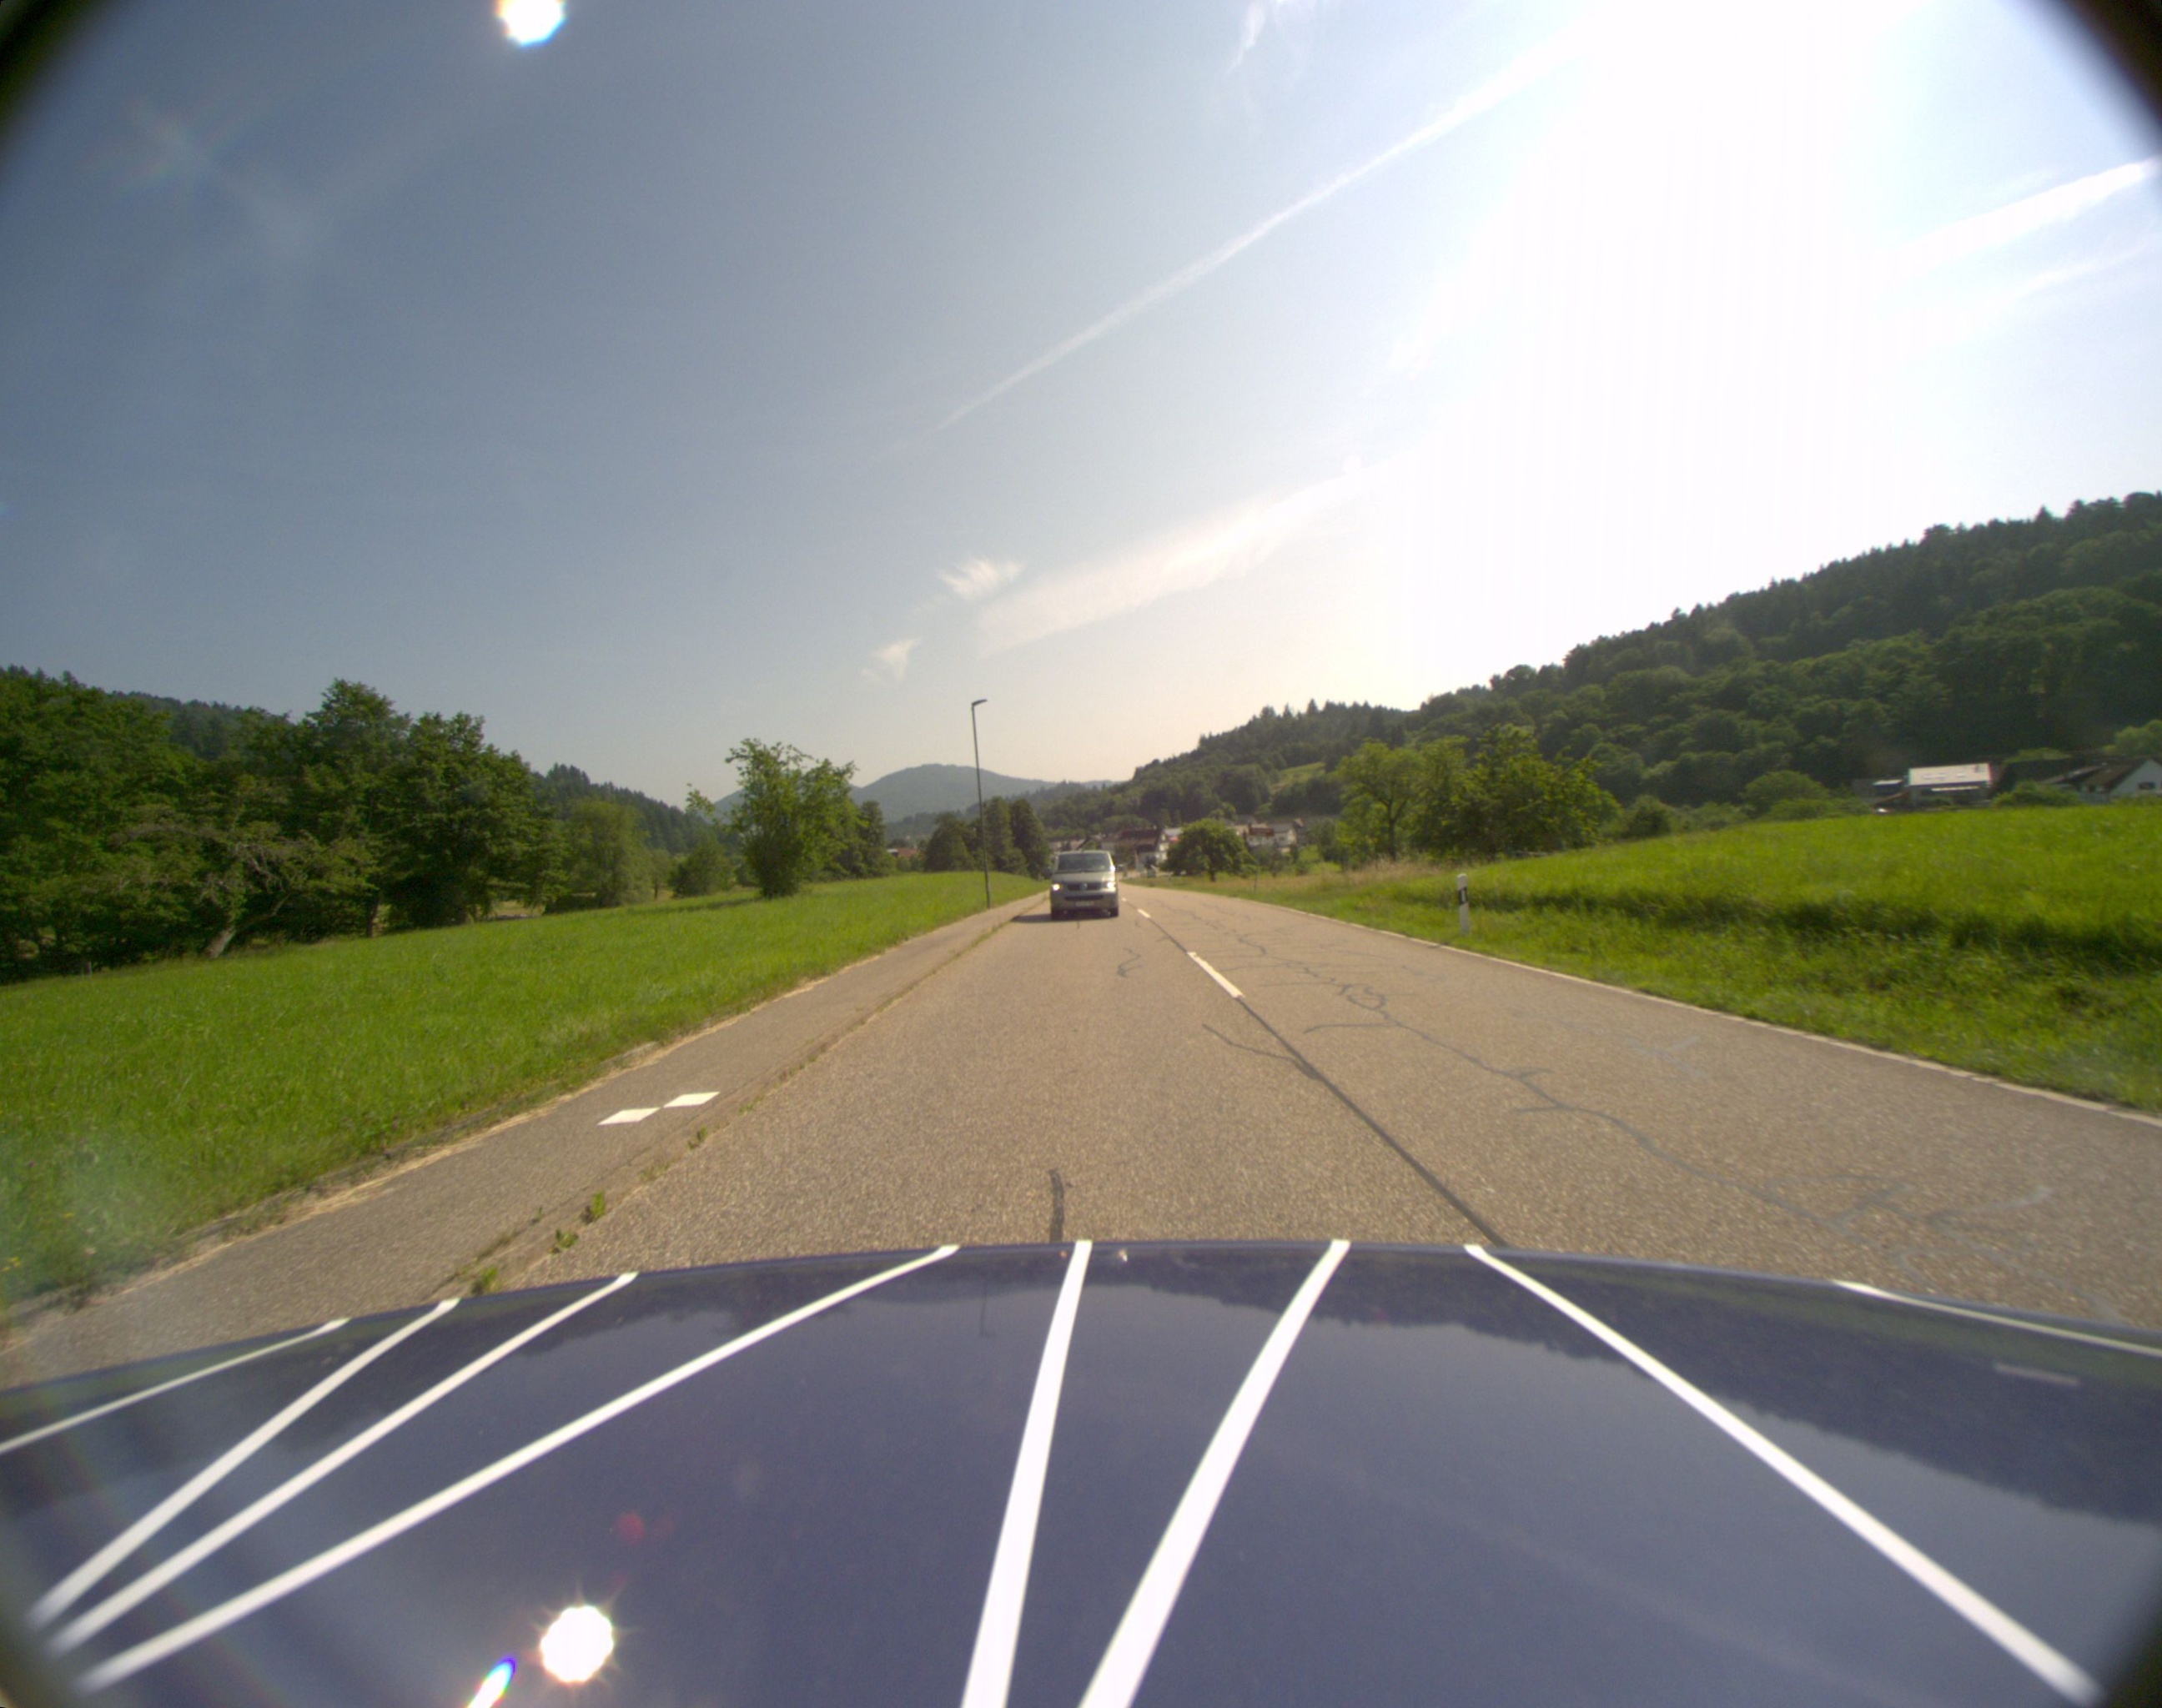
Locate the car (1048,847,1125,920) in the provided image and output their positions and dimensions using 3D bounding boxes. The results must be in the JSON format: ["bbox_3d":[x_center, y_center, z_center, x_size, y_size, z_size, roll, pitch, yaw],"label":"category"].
[{"bbox_3d":[0.301,0.860,23.929,2.023,1.970,5.051,-3,-1,4],"label":"car"}]
